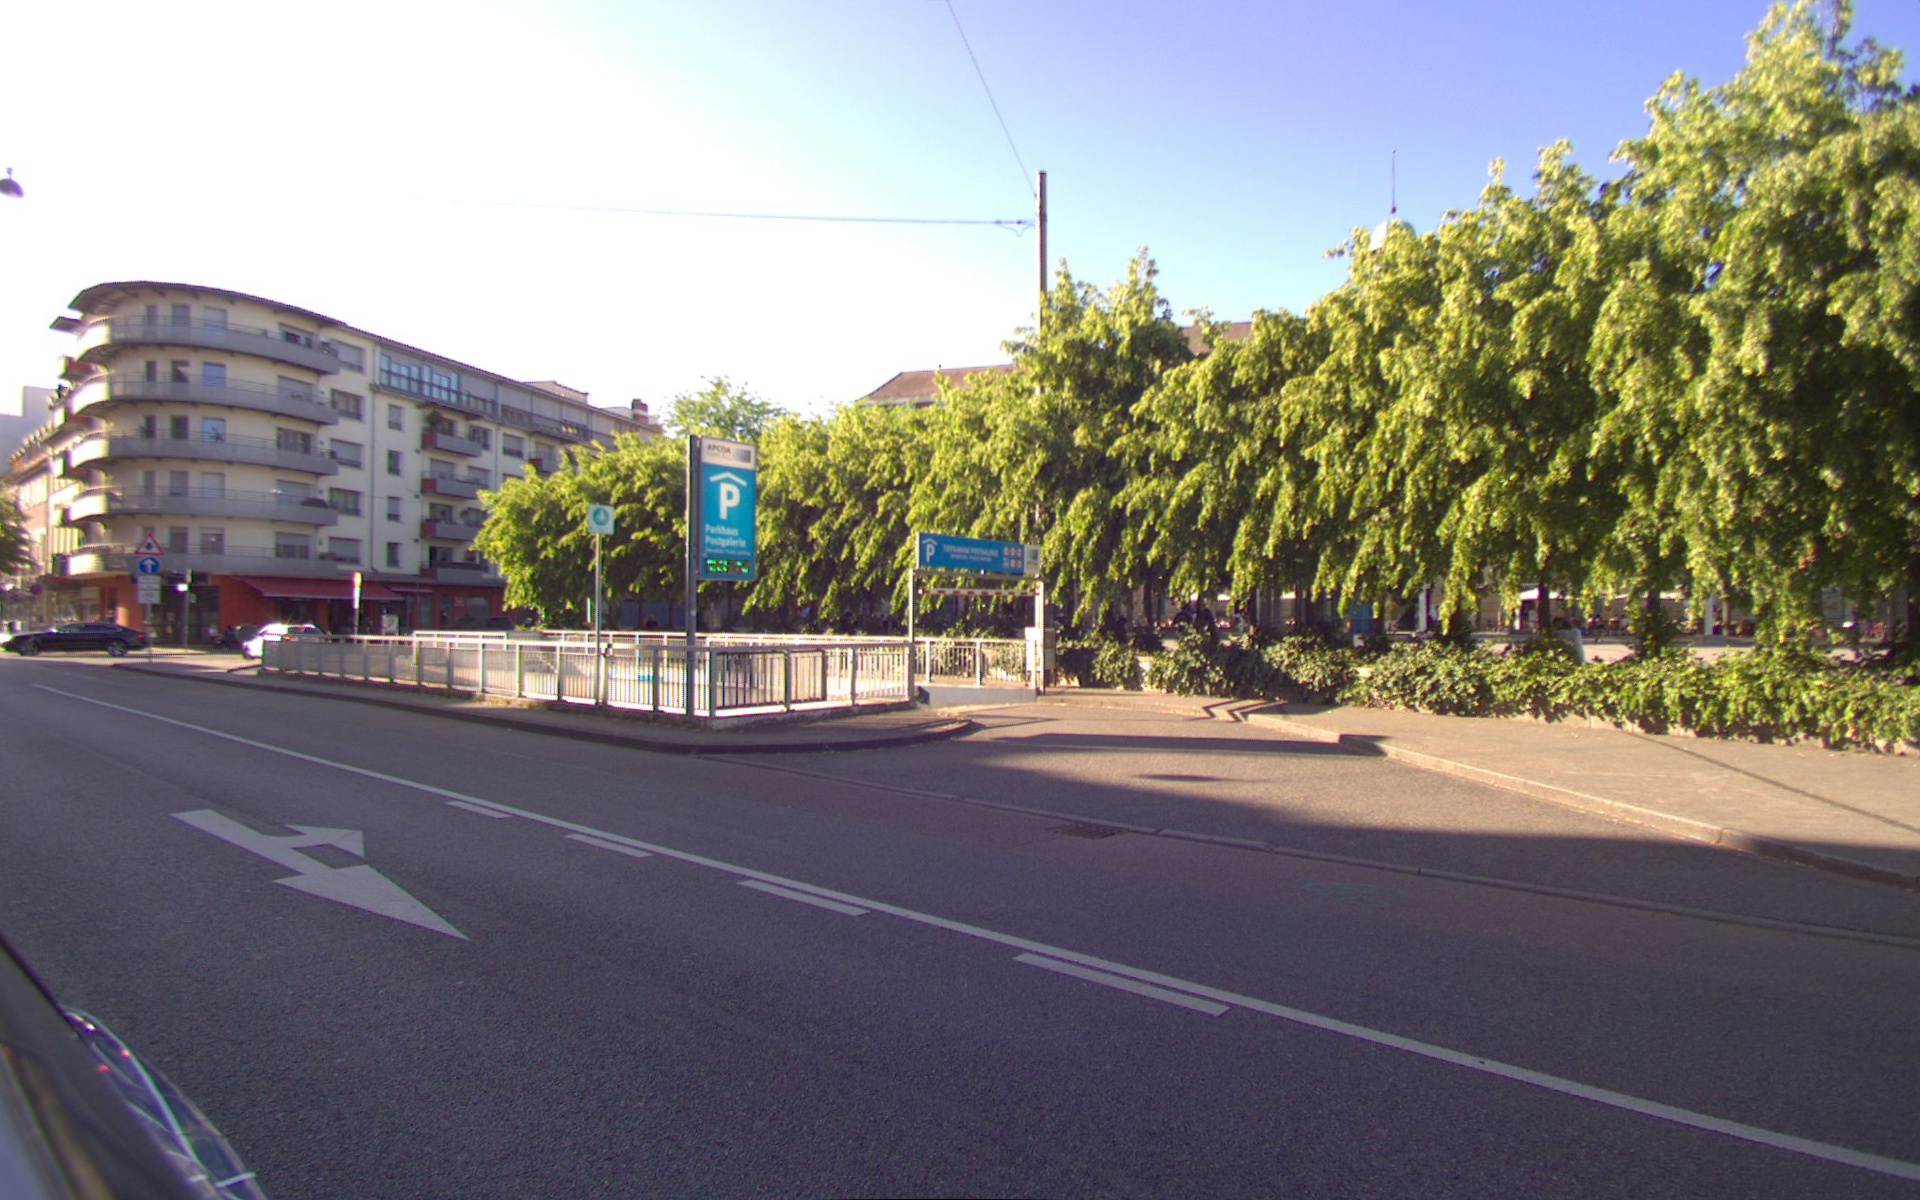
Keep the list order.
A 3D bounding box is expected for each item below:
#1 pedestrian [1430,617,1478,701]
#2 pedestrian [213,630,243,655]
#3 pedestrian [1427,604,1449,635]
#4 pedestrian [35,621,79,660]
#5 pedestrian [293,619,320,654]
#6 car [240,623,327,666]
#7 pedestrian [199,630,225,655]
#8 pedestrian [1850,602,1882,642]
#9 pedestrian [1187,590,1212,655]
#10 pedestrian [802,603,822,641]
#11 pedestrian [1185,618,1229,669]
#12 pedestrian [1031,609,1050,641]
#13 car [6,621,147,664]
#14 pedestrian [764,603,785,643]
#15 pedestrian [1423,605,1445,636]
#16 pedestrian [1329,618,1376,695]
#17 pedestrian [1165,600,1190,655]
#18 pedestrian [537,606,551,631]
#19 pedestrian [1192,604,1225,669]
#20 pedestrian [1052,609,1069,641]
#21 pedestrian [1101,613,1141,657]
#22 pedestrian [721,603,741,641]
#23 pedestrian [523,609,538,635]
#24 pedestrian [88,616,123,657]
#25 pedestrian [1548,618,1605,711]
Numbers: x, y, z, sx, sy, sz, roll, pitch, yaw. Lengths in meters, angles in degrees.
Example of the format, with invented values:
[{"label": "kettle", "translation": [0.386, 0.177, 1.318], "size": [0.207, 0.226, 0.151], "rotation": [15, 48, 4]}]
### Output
[{"label": "pedestrian", "translation": [8.743, 1.026, 17.911], "size": [0.621, 1.447, 0.645], "rotation": [-1, 0, 39]}, {"label": "pedestrian", "translation": [-36.827, 2.125, 50.909], "size": [0.827, 1.207, 0.931], "rotation": [-1, 0, 16]}, {"label": "pedestrian", "translation": [24.344, 1.003, 51.524], "size": [0.672, 1.542, 0.696], "rotation": [-1, 0, -18]}, {"label": "pedestrian", "translation": [-41.118, 1.830, 46.078], "size": [1.053, 1.732, 1.082], "rotation": [-1, 0, -7]}, {"label": "pedestrian", "translation": [-33.317, 1.841, 51.626], "size": [0.946, 1.762, 1.065], "rotation": [-1, 0, -20]}, {"label": "car", "translation": [-26.331, 1.689, 39.356], "size": [3.901, 1.542, 1.618], "rotation": [-1, 0, 37]}, {"label": "pedestrian", "translation": [-37.647, 2.136, 50.954], "size": [0.882, 1.207, 0.772], "rotation": [-1, 0, 30]}, {"label": "pedestrian", "translation": [35.337, 0.870, 39.490], "size": [0.689, 1.542, 0.735], "rotation": [-1, 0, 21]}, {"label": "pedestrian", "translation": [6.048, 0.562, 25.546], "size": [0.522, 1.594, 0.680], "rotation": [-1, 0, 19]}, {"label": "pedestrian", "translation": [-7.341, 1.089, 50.204], "size": [0.681, 1.857, 0.741], "rotation": [-1, 0, 27]}, {"label": "pedestrian", "translation": [5.463, 0.952, 22.392], "size": [0.682, 1.079, 0.686], "rotation": [-1, 0, -13]}, {"label": "pedestrian", "translation": [3.569, 1.119, 44.867], "size": [0.752, 1.385, 0.684], "rotation": [-1, 0, 1]}, {"label": "car", "translation": [-35.840, 1.691, 41.215], "size": [4.180, 1.542, 1.681], "rotation": [-1, 0, -36]}, {"label": "pedestrian", "translation": [-8.953, 1.101, 48.885], "size": [0.681, 1.877, 0.741], "rotation": [-1, 0, 27]}, {"label": "pedestrian", "translation": [23.810, 1.033, 50.808], "size": [0.672, 1.536, 0.696], "rotation": [-1, 0, -19]}, {"label": "pedestrian", "translation": [7.516, 1.061, 19.358], "size": [0.622, 1.409, 0.644], "rotation": [-1, 0, 44]}, {"label": "pedestrian", "translation": [5.529, 0.691, 25.724], "size": [0.545, 1.385, 0.680], "rotation": [-1, 0, 19]}, {"label": "pedestrian", "translation": [-31.284, 1.399, 76.035], "size": [0.684, 1.857, 0.737], "rotation": [-1, 0, 41]}, {"label": "pedestrian", "translation": [5.867, 0.851, 23.878], "size": [0.688, 1.511, 0.680], "rotation": [-1, 0, 19]}, {"label": "pedestrian", "translation": [4.464, 1.107, 44.830], "size": [0.684, 1.385, 0.684], "rotation": [-1, 0, 1]}, {"label": "pedestrian", "translation": [4.011, 0.859, 25.190], "size": [0.682, 1.079, 0.686], "rotation": [-1, 0, -29]}, {"label": "pedestrian", "translation": [-11.397, 1.078, 50.361], "size": [0.679, 1.857, 0.743], "rotation": [-1, 0, 19]}, {"label": "pedestrian", "translation": [-30.949, 1.577, 72.960], "size": [0.738, 1.857, 0.683], "rotation": [-1, 0, 3]}, {"label": "pedestrian", "translation": [-41.372, 1.751, 49.005], "size": [0.782, 1.934, 0.987], "rotation": [-1, 0, 9]}, {"label": "pedestrian", "translation": [9.799, 1.013, 16.103], "size": [0.611, 1.447, 0.588], "rotation": [-1, 0, 14]}]
